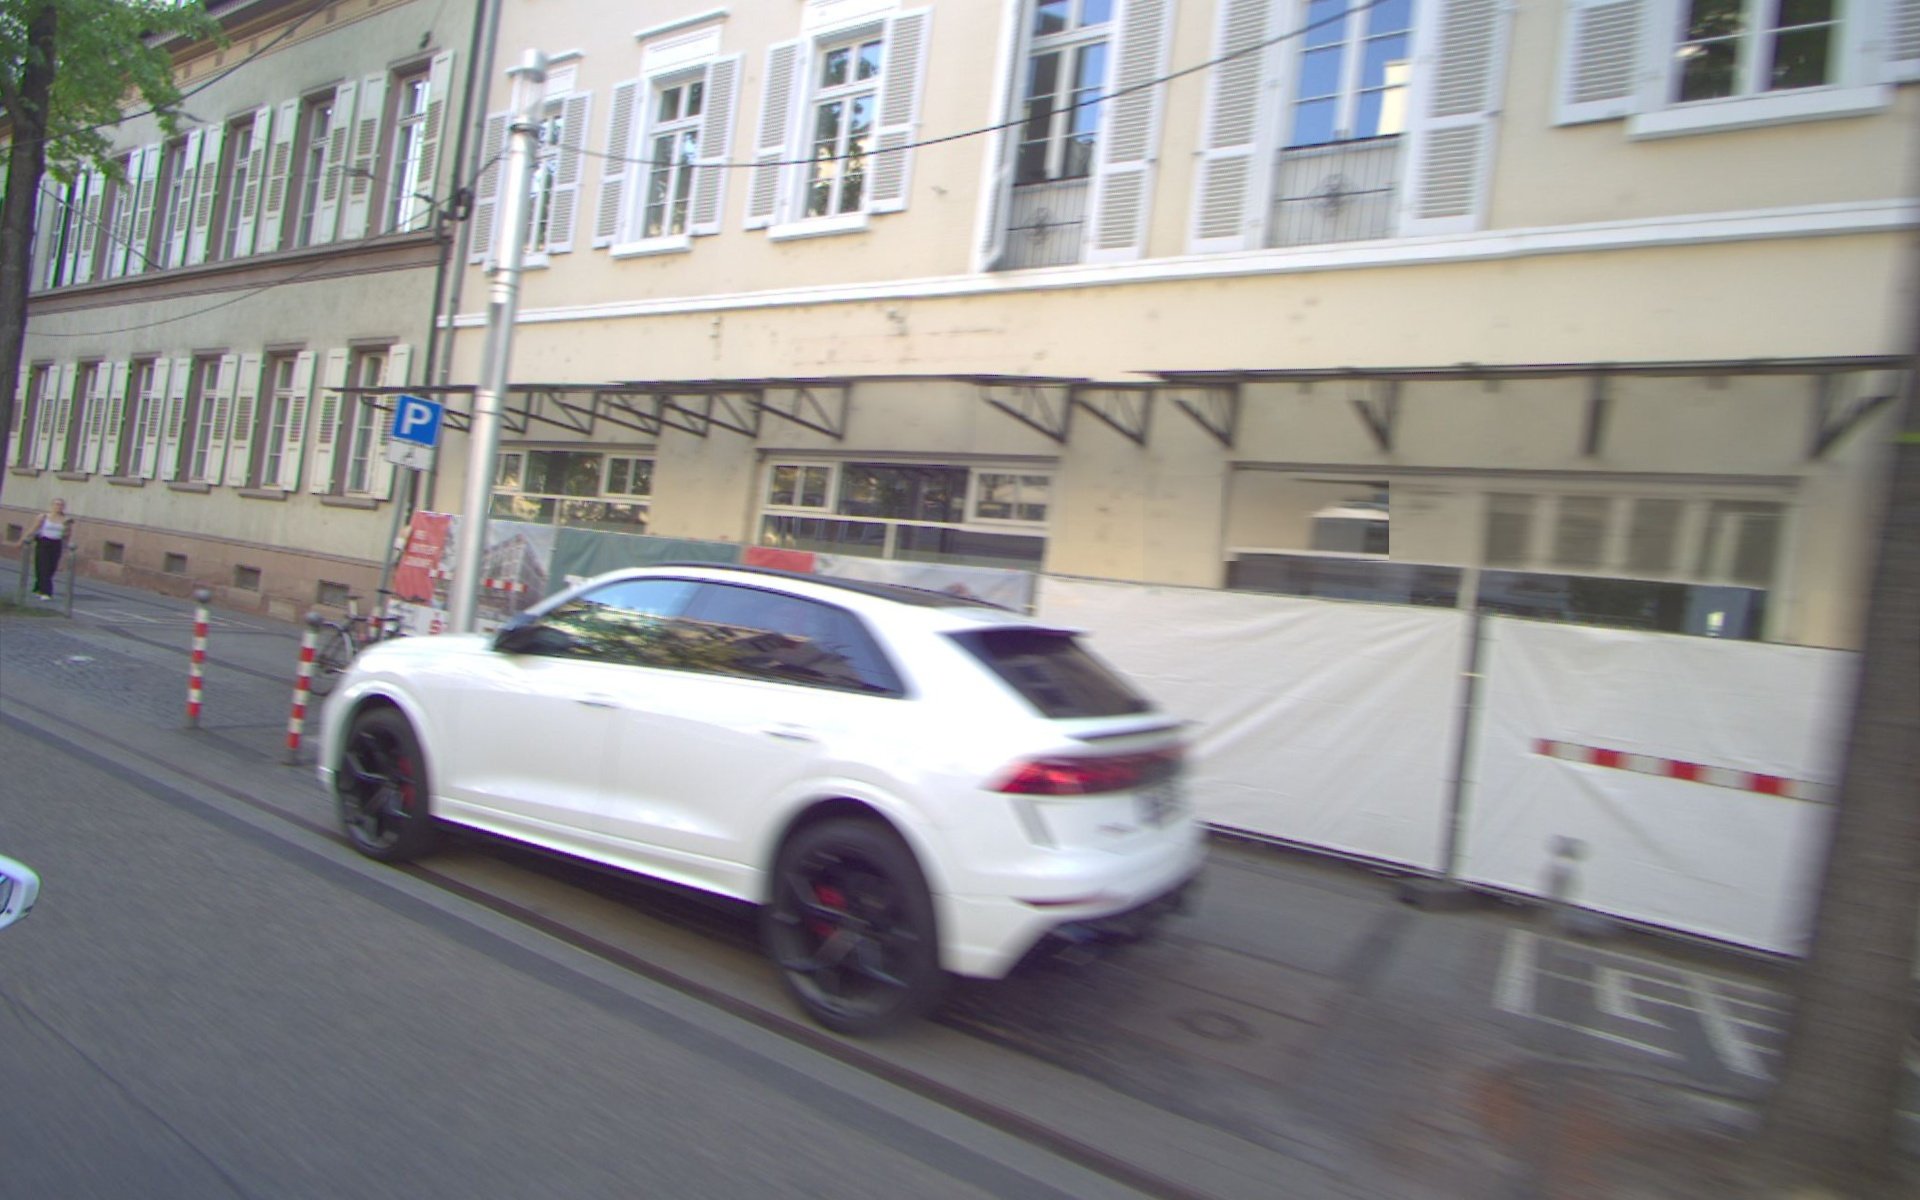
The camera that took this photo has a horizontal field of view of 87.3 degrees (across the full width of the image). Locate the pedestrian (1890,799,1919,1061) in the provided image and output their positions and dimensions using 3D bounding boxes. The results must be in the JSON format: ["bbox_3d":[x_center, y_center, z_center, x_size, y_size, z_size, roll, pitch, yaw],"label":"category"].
[{"bbox_3d":[5.262,1.341,4.704,1.035,1.910,0.714,7,1,31],"label":"pedestrian"}]

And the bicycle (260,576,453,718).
[{"bbox_3d":[-5.874,0.431,9.762,1.952,1.114,0.419,7,1,22],"label":"bicycle"}]

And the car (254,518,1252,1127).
[{"bbox_3d":[-1.233,0.682,5.289,4.882,1.709,2.001,6,0,28],"label":"car"}]

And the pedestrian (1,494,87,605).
[{"bbox_3d":[-14.168,-0.780,15.564,0.785,1.592,0.650,7,-1,31],"label":"pedestrian"}]
